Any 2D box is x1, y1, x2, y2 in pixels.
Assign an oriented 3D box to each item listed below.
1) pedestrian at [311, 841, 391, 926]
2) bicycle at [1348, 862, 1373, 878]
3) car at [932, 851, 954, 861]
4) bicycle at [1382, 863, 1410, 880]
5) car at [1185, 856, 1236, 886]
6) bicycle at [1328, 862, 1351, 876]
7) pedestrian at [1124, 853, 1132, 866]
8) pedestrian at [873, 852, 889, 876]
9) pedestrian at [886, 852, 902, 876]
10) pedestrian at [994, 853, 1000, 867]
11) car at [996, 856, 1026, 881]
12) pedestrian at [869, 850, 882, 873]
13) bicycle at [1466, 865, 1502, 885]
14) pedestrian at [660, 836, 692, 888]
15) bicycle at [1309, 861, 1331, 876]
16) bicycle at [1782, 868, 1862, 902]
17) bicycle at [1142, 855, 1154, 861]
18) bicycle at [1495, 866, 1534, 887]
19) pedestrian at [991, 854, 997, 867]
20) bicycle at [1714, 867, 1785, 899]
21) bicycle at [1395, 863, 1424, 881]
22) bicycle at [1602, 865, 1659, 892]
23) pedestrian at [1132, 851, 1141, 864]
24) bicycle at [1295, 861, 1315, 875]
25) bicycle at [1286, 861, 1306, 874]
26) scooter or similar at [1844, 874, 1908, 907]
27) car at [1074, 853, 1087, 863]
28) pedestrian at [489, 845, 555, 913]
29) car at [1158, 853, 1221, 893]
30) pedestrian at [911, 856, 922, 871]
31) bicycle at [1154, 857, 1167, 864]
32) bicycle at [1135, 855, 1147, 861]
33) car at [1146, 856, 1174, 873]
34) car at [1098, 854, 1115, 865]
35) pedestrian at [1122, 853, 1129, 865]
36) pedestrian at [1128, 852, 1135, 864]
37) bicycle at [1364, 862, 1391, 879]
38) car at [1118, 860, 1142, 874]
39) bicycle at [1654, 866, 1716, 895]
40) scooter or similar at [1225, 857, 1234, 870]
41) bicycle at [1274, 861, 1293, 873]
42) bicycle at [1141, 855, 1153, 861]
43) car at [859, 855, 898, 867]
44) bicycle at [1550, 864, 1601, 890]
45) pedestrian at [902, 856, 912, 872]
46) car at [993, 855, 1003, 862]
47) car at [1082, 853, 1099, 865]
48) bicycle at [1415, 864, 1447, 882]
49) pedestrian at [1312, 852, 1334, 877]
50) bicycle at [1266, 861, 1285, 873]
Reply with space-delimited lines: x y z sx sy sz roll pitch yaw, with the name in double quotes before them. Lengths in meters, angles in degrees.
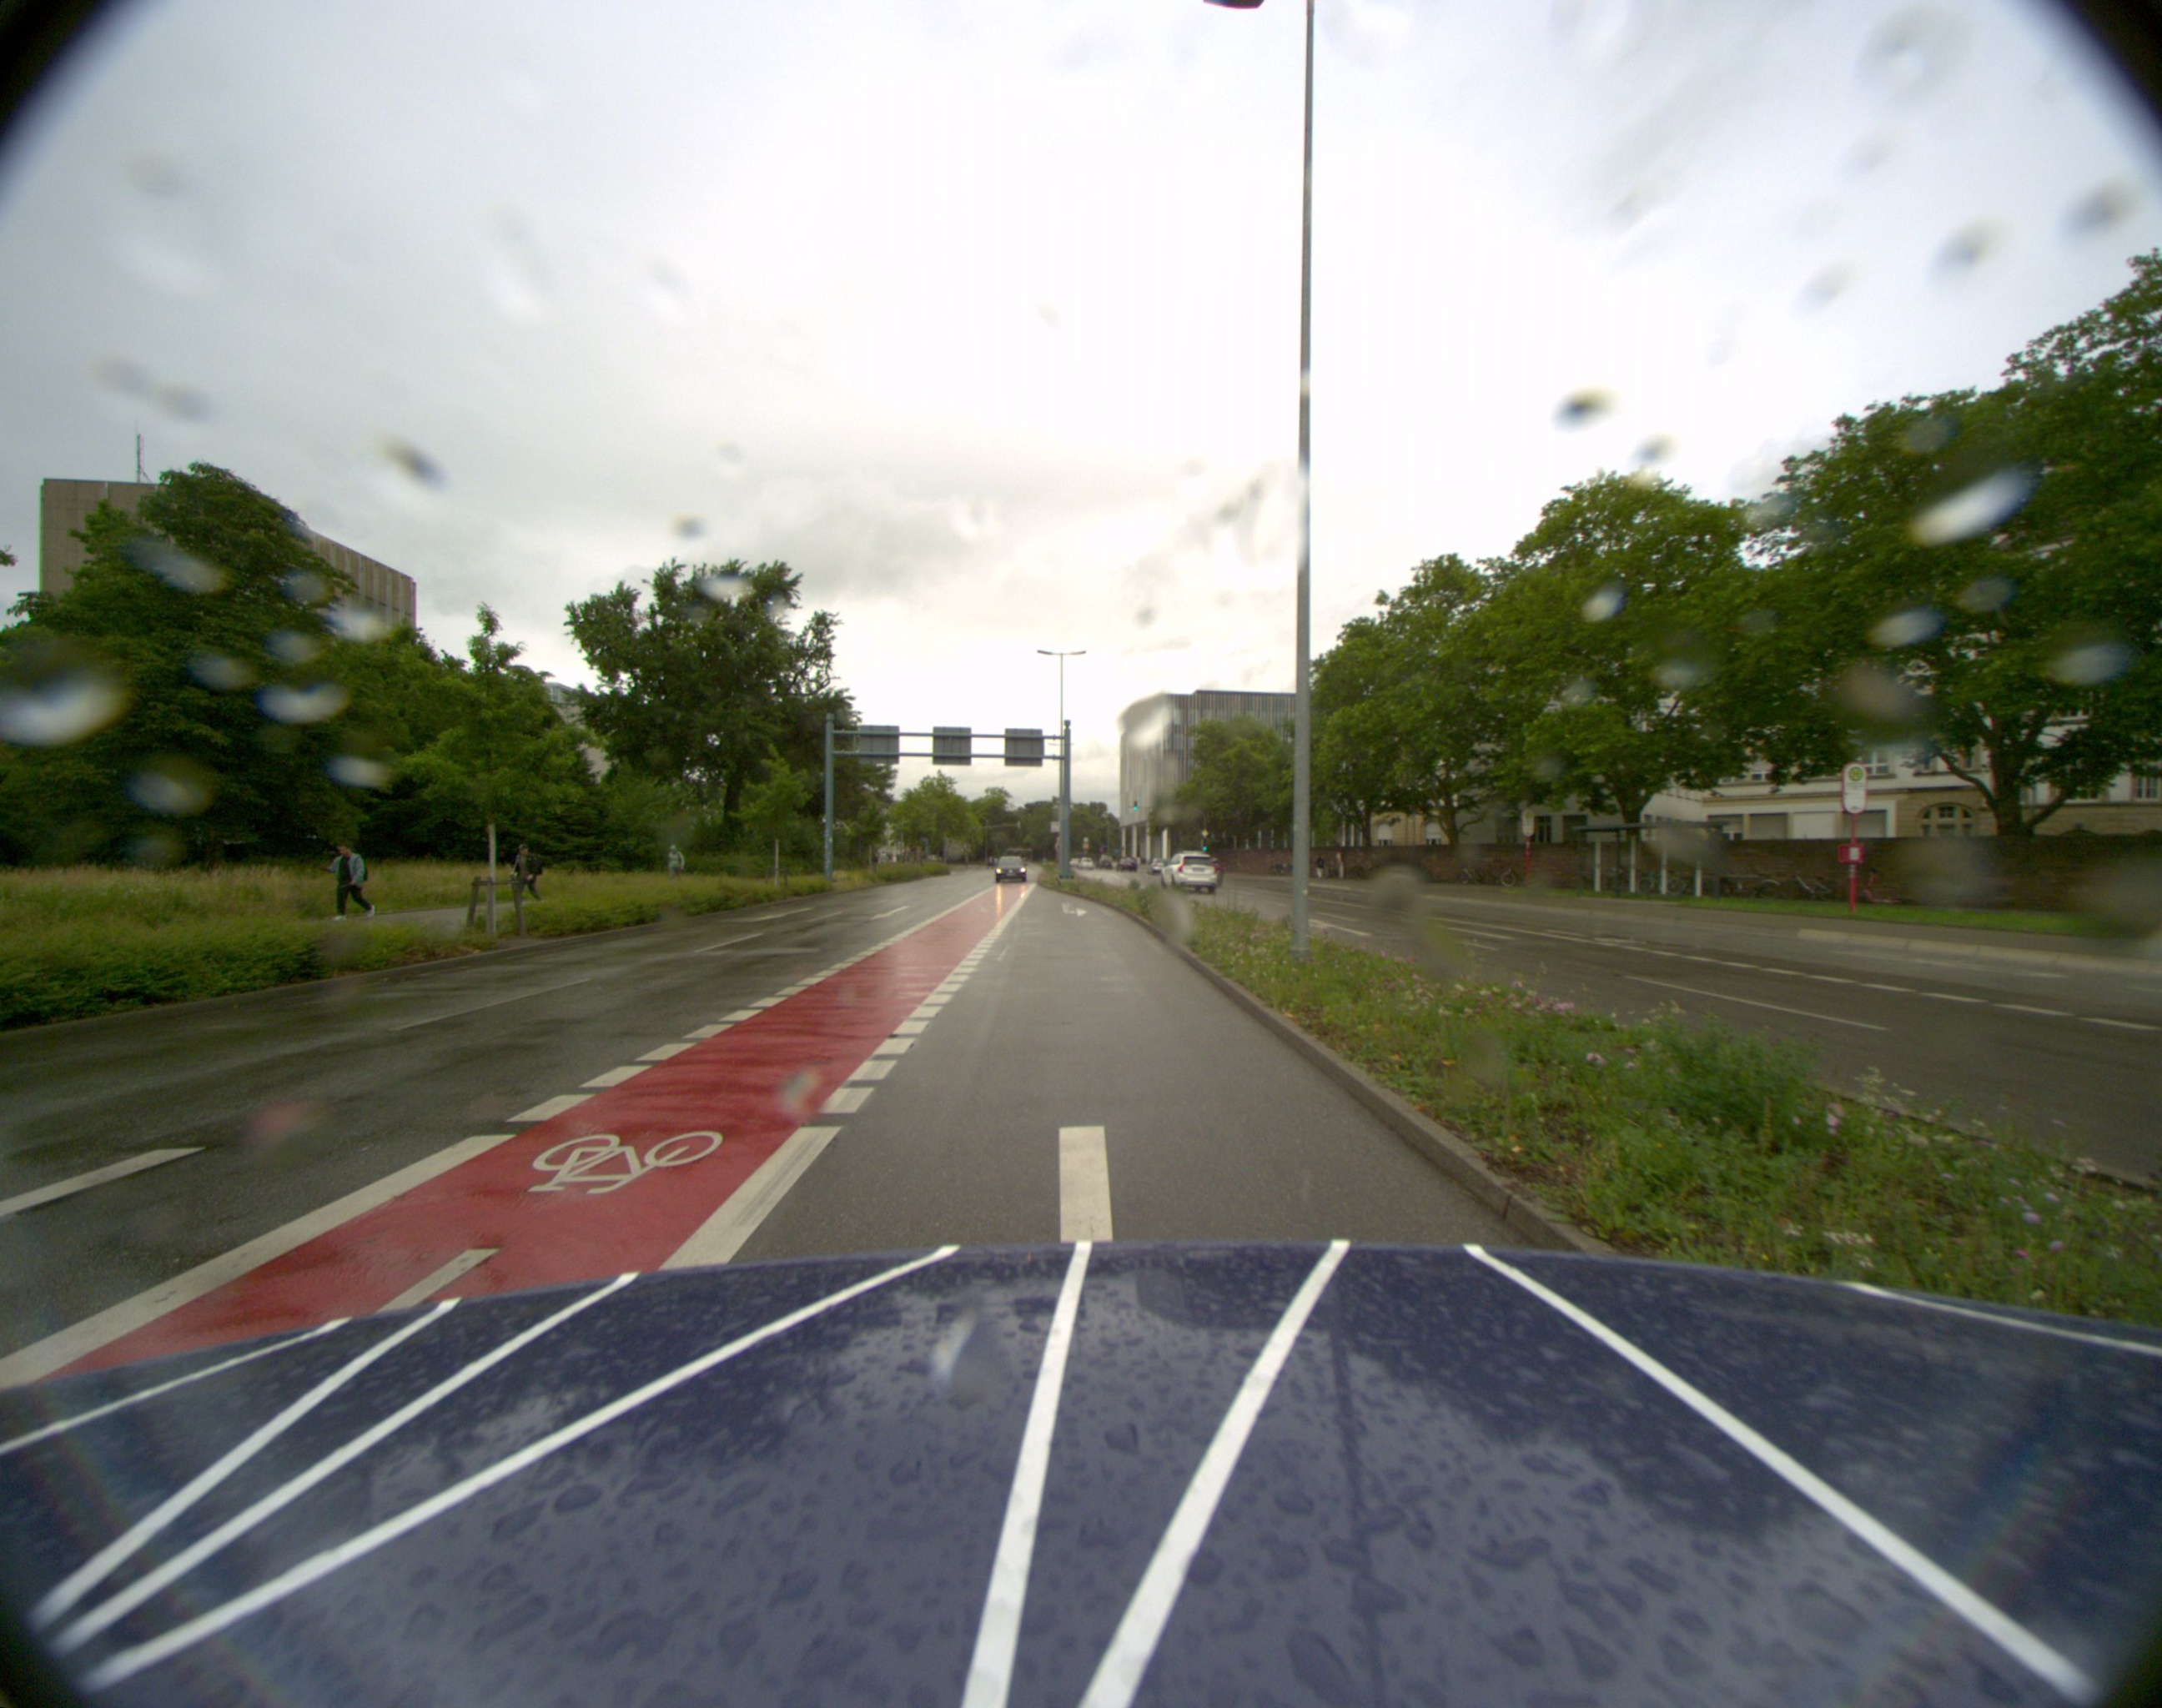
"pedestrian" -15.708 0.613 16.366 0.935 1.786 0.829 0 0 4
"bicycle" 18.335 1.038 49.930 0.734 0.977 1.699 0 0 -14
"car" -28.406 0.433 155.994 4.428 1.862 1.636 0 0 -11
"bicycle" 19.316 1.055 46.583 0.734 0.977 1.699 0 0 -14
"car" 7.737 1.002 45.908 1.999 1.626 4.601 2 0 -3
"bicycle" 17.882 1.038 52.657 0.734 0.977 1.699 0 0 -14
"pedestrian" 6.530 0.713 104.830 0.788 1.814 0.794 0 0 -26
"pedestrian" -14.951 0.751 56.737 0.935 1.693 0.829 -1 -2 2
"pedestrian" -13.954 0.733 56.644 0.935 1.710 0.829 -1 -2 2
"pedestrian" -11.591 0.836 105.088 0.786 1.814 0.625 0 0 2
"car" -4.101 0.811 44.654 1.661 1.356 4.105 0 0 -4
"pedestrian" -16.245 0.581 60.073 0.731 1.848 0.851 0 0 4
"bicycle" 21.214 1.090 40.042 0.734 0.977 1.699 0 0 -14
"pedestrian" -15.755 0.317 29.592 0.792 2.002 0.829 0 0 4
"bicycle" 17.230 1.036 54.726 0.734 0.977 1.699 0 0 -14
"bicycle" 26.249 1.080 26.953 0.575 1.129 1.988 0 0 -19
"bicycle" 12.728 0.734 144.516 2.283 1.215 0.599 0 0 6
"bicycle" 21.666 1.118 38.007 0.734 0.977 1.699 0 0 -14
"pedestrian" -11.946 0.918 103.924 0.786 1.814 0.624 0 0 -2
"bicycle" 25.304 1.087 28.785 0.575 1.129 1.988 0 0 -19
"bicycle" 19.546 1.056 45.249 0.734 0.977 1.699 0 0 -14
"bicycle" 23.729 1.046 32.830 0.575 1.129 1.987 0 0 -22
"pedestrian" 7.986 0.507 108.569 0.941 1.813 0.921 0 0 -26
"bicycle" 16.645 1.033 56.525 0.733 0.977 1.863 0 0 -9
"bicycle" 16.623 1.036 58.707 0.734 0.977 1.699 0 0 -14
"scooter or similar" 26.760 1.200 25.599 0.574 1.040 1.360 0 0 -19
"car" -0.050 0.637 122.529 1.601 1.407 4.521 2 0 -7
"pedestrian" -14.568 0.639 19.835 0.935 1.737 1.046 0 0 4
"car" 5.017 0.831 35.909 1.831 1.672 5.163 2 0 -4
"pedestrian" -17.420 1.037 80.479 0.878 1.598 0.862 0 0 -25
"bicycle" 14.079 1.070 134.631 2.287 1.215 0.598 0 0 -15
"bicycle" 11.868 0.734 149.287 2.283 1.215 0.599 0 0 6
"car" 6.903 0.878 66.961 1.684 1.396 4.156 1 0 -5
"car" 3.456 0.721 102.725 1.629 1.407 4.063 2 0 -8
"pedestrian" 6.332 0.711 107.870 0.788 1.814 0.794 0 0 -26
"pedestrian" 7.160 0.555 108.031 0.788 1.814 0.623 0 1 -26
"bicycle" 18.835 1.039 48.252 0.734 0.977 1.699 0 0 -14
"car" 5.698 1.467 88.756 1.814 1.531 4.700 2 0 -7
"bicycle" 24.568 1.069 30.937 0.575 1.129 1.988 0 0 -19
"scooter or similar" 14.066 0.929 72.023 0.392 1.191 1.141 -7 1 -9
"bicycle" 16.087 1.034 60.357 0.734 0.977 1.699 0 0 -14
"bicycle" 12.575 0.734 145.440 2.283 1.215 0.599 0 0 6
"car" -24.516 0.802 92.043 4.389 1.330 1.771 0 3 -6
"bicycle" 22.779 1.041 35.049 0.575 1.129 1.987 0 0 -22
"pedestrian" -18.314 1.050 80.069 0.878 1.598 0.862 0 0 -23
"car" -15.671 0.860 143.143 1.661 1.259 4.105 0 0 -4
"car" 1.203 0.616 97.696 1.684 1.493 3.865 1 0 -8
"bicycle" 19.754 1.044 42.903 0.734 0.977 1.699 0 0 -14
"pedestrian" 16.620 0.687 52.229 0.871 1.686 1.399 0 0 -9
"bicycle" 15.964 1.036 62.377 0.734 0.977 1.699 0 0 -14
